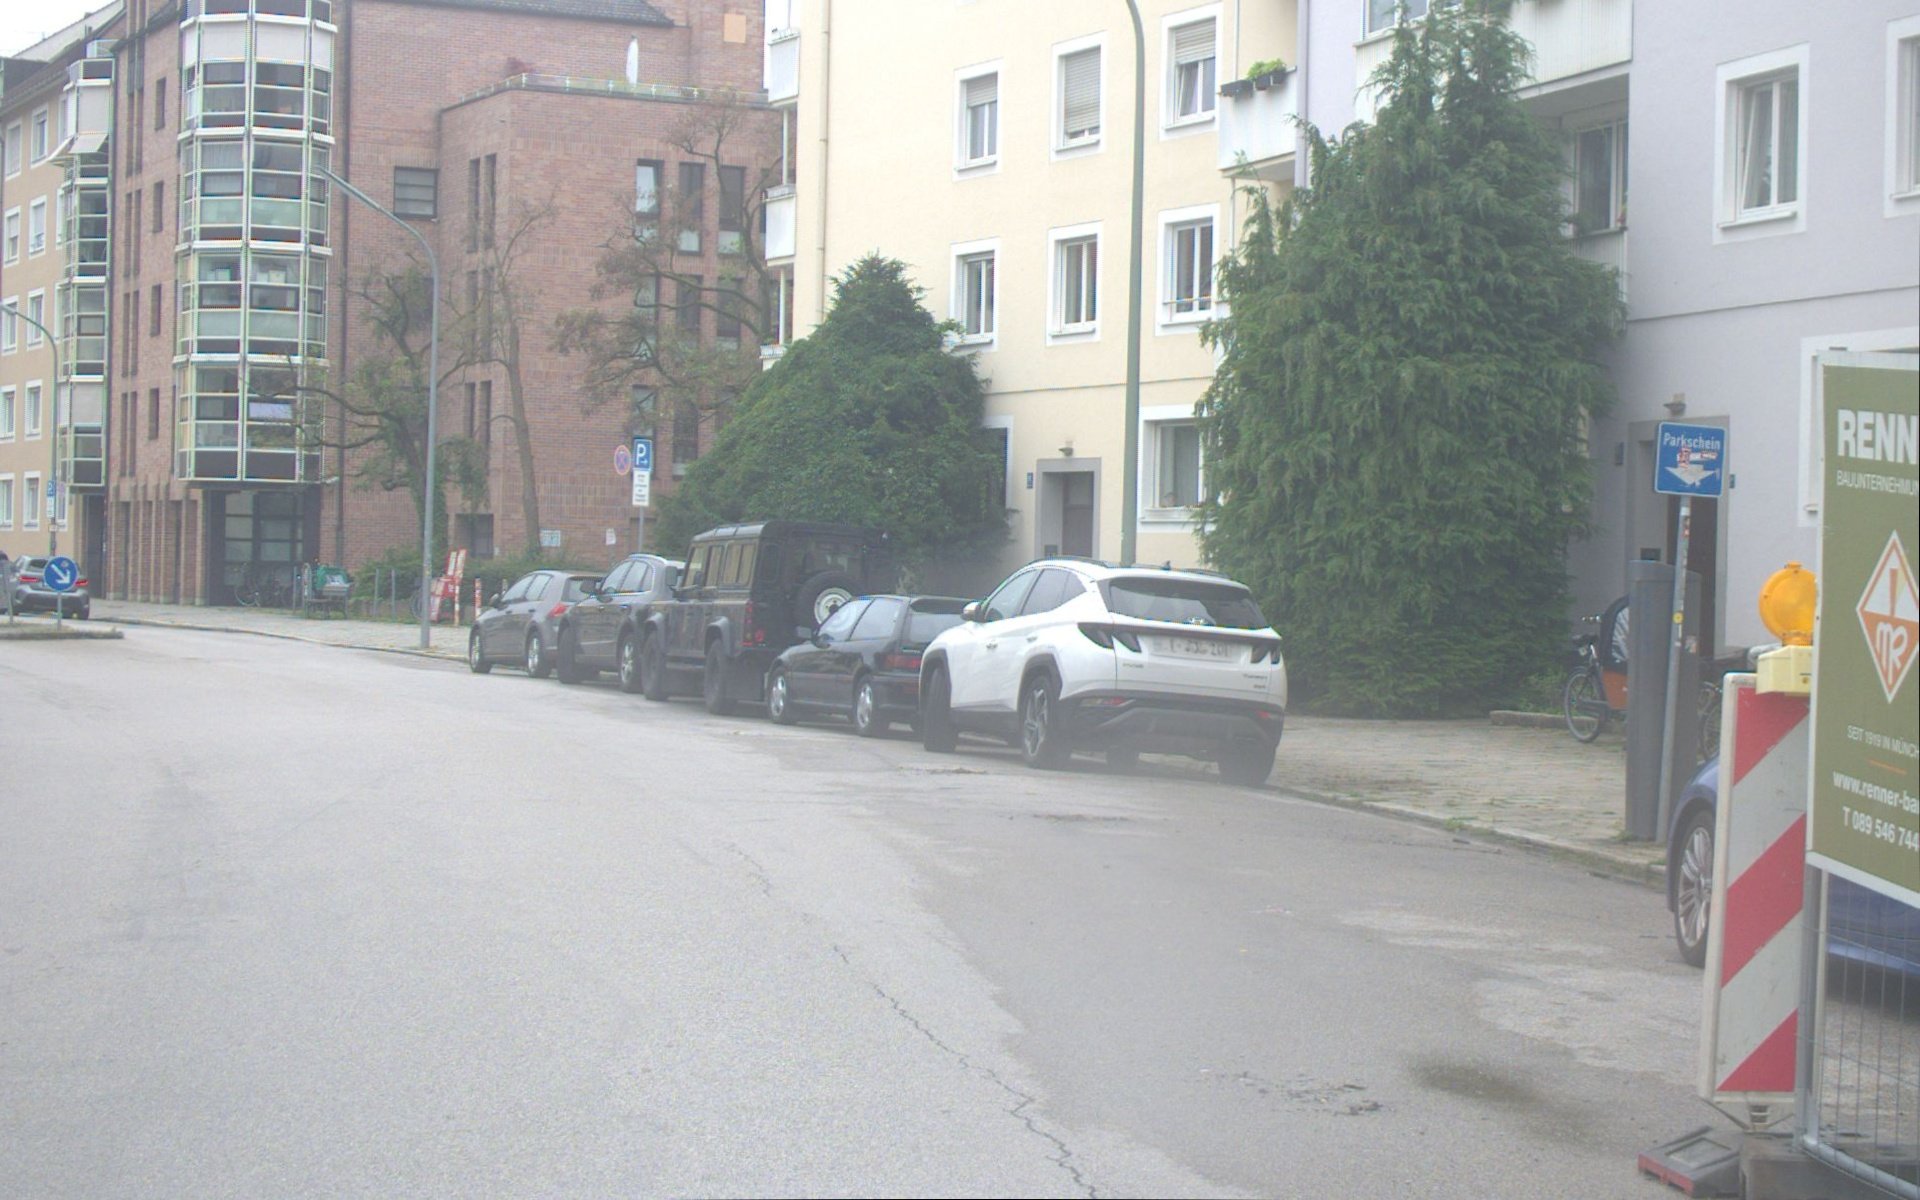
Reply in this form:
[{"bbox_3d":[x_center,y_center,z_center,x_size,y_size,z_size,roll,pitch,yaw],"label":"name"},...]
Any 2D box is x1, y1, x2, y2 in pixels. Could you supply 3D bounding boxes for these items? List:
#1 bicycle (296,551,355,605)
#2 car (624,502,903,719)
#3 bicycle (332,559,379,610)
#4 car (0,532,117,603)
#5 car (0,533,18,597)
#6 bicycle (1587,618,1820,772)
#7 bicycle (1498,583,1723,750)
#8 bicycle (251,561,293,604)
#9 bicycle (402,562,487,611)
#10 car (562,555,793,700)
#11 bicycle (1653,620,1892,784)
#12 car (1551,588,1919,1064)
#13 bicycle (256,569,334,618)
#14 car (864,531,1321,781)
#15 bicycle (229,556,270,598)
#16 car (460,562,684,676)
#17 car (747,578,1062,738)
[{"bbox_3d":[-15.027,-0.511,81.344,0.534,1.244,2.413,3,-1,-31],"label":"bicycle"},{"bbox_3d":[-2.170,0.052,36.596,1.747,2.074,4.517,3,1,-18],"label":"car"},{"bbox_3d":[-14.165,-0.365,80.589,0.420,1.169,1.360,3,1,20],"label":"bicycle"},{"bbox_3d":[-21.040,-0.765,79.959,1.924,1.507,4.393,3,0,-25],"label":"car"},{"bbox_3d":[-25.982,-1.001,89.480,1.830,1.596,4.267,3,1,-28],"label":"car"},{"bbox_3d":[5.934,0.737,27.517,0.576,1.154,1.832,-2,2,-40],"label":"bicycle"},{"bbox_3d":[5.766,0.565,30.646,0.742,1.363,2.472,-2,2,-21],"label":"bicycle"},{"bbox_3d":[-17.830,-0.455,89.095,0.486,1.056,1.996,3,0,-27],"label":"bicycle"},{"bbox_3d":[-11.211,-0.290,74.795,1.700,0.962,0.546,3,1,-24],"label":"bicycle"},{"bbox_3d":[-3.435,0.284,41.054,1.658,1.560,4.516,3,0,-18],"label":"car"},{"bbox_3d":[6.191,0.762,26.181,1.826,1.154,0.578,-2,2,-28],"label":"bicycle"},{"bbox_3d":[3.799,0.773,12.318,1.830,1.437,4.630,3,1,-9],"label":"car"},{"bbox_3d":[-16.946,-0.158,87.592,1.847,1.143,0.488,3,1,-19],"label":"bicycle"},{"bbox_3d":[0.926,0.375,27.225,2.025,1.672,4.614,3,1,-19],"label":"car"},{"bbox_3d":[-18.380,-0.610,88.897,0.486,1.056,1.996,3,0,-27],"label":"bicycle"},{"bbox_3d":[-5.236,0.237,45.977,1.754,1.391,4.045,3,-1,-25],"label":"car"},{"bbox_3d":[-0.587,0.504,32.150,1.658,1.344,3.805,3,-1,-22],"label":"car"}]
